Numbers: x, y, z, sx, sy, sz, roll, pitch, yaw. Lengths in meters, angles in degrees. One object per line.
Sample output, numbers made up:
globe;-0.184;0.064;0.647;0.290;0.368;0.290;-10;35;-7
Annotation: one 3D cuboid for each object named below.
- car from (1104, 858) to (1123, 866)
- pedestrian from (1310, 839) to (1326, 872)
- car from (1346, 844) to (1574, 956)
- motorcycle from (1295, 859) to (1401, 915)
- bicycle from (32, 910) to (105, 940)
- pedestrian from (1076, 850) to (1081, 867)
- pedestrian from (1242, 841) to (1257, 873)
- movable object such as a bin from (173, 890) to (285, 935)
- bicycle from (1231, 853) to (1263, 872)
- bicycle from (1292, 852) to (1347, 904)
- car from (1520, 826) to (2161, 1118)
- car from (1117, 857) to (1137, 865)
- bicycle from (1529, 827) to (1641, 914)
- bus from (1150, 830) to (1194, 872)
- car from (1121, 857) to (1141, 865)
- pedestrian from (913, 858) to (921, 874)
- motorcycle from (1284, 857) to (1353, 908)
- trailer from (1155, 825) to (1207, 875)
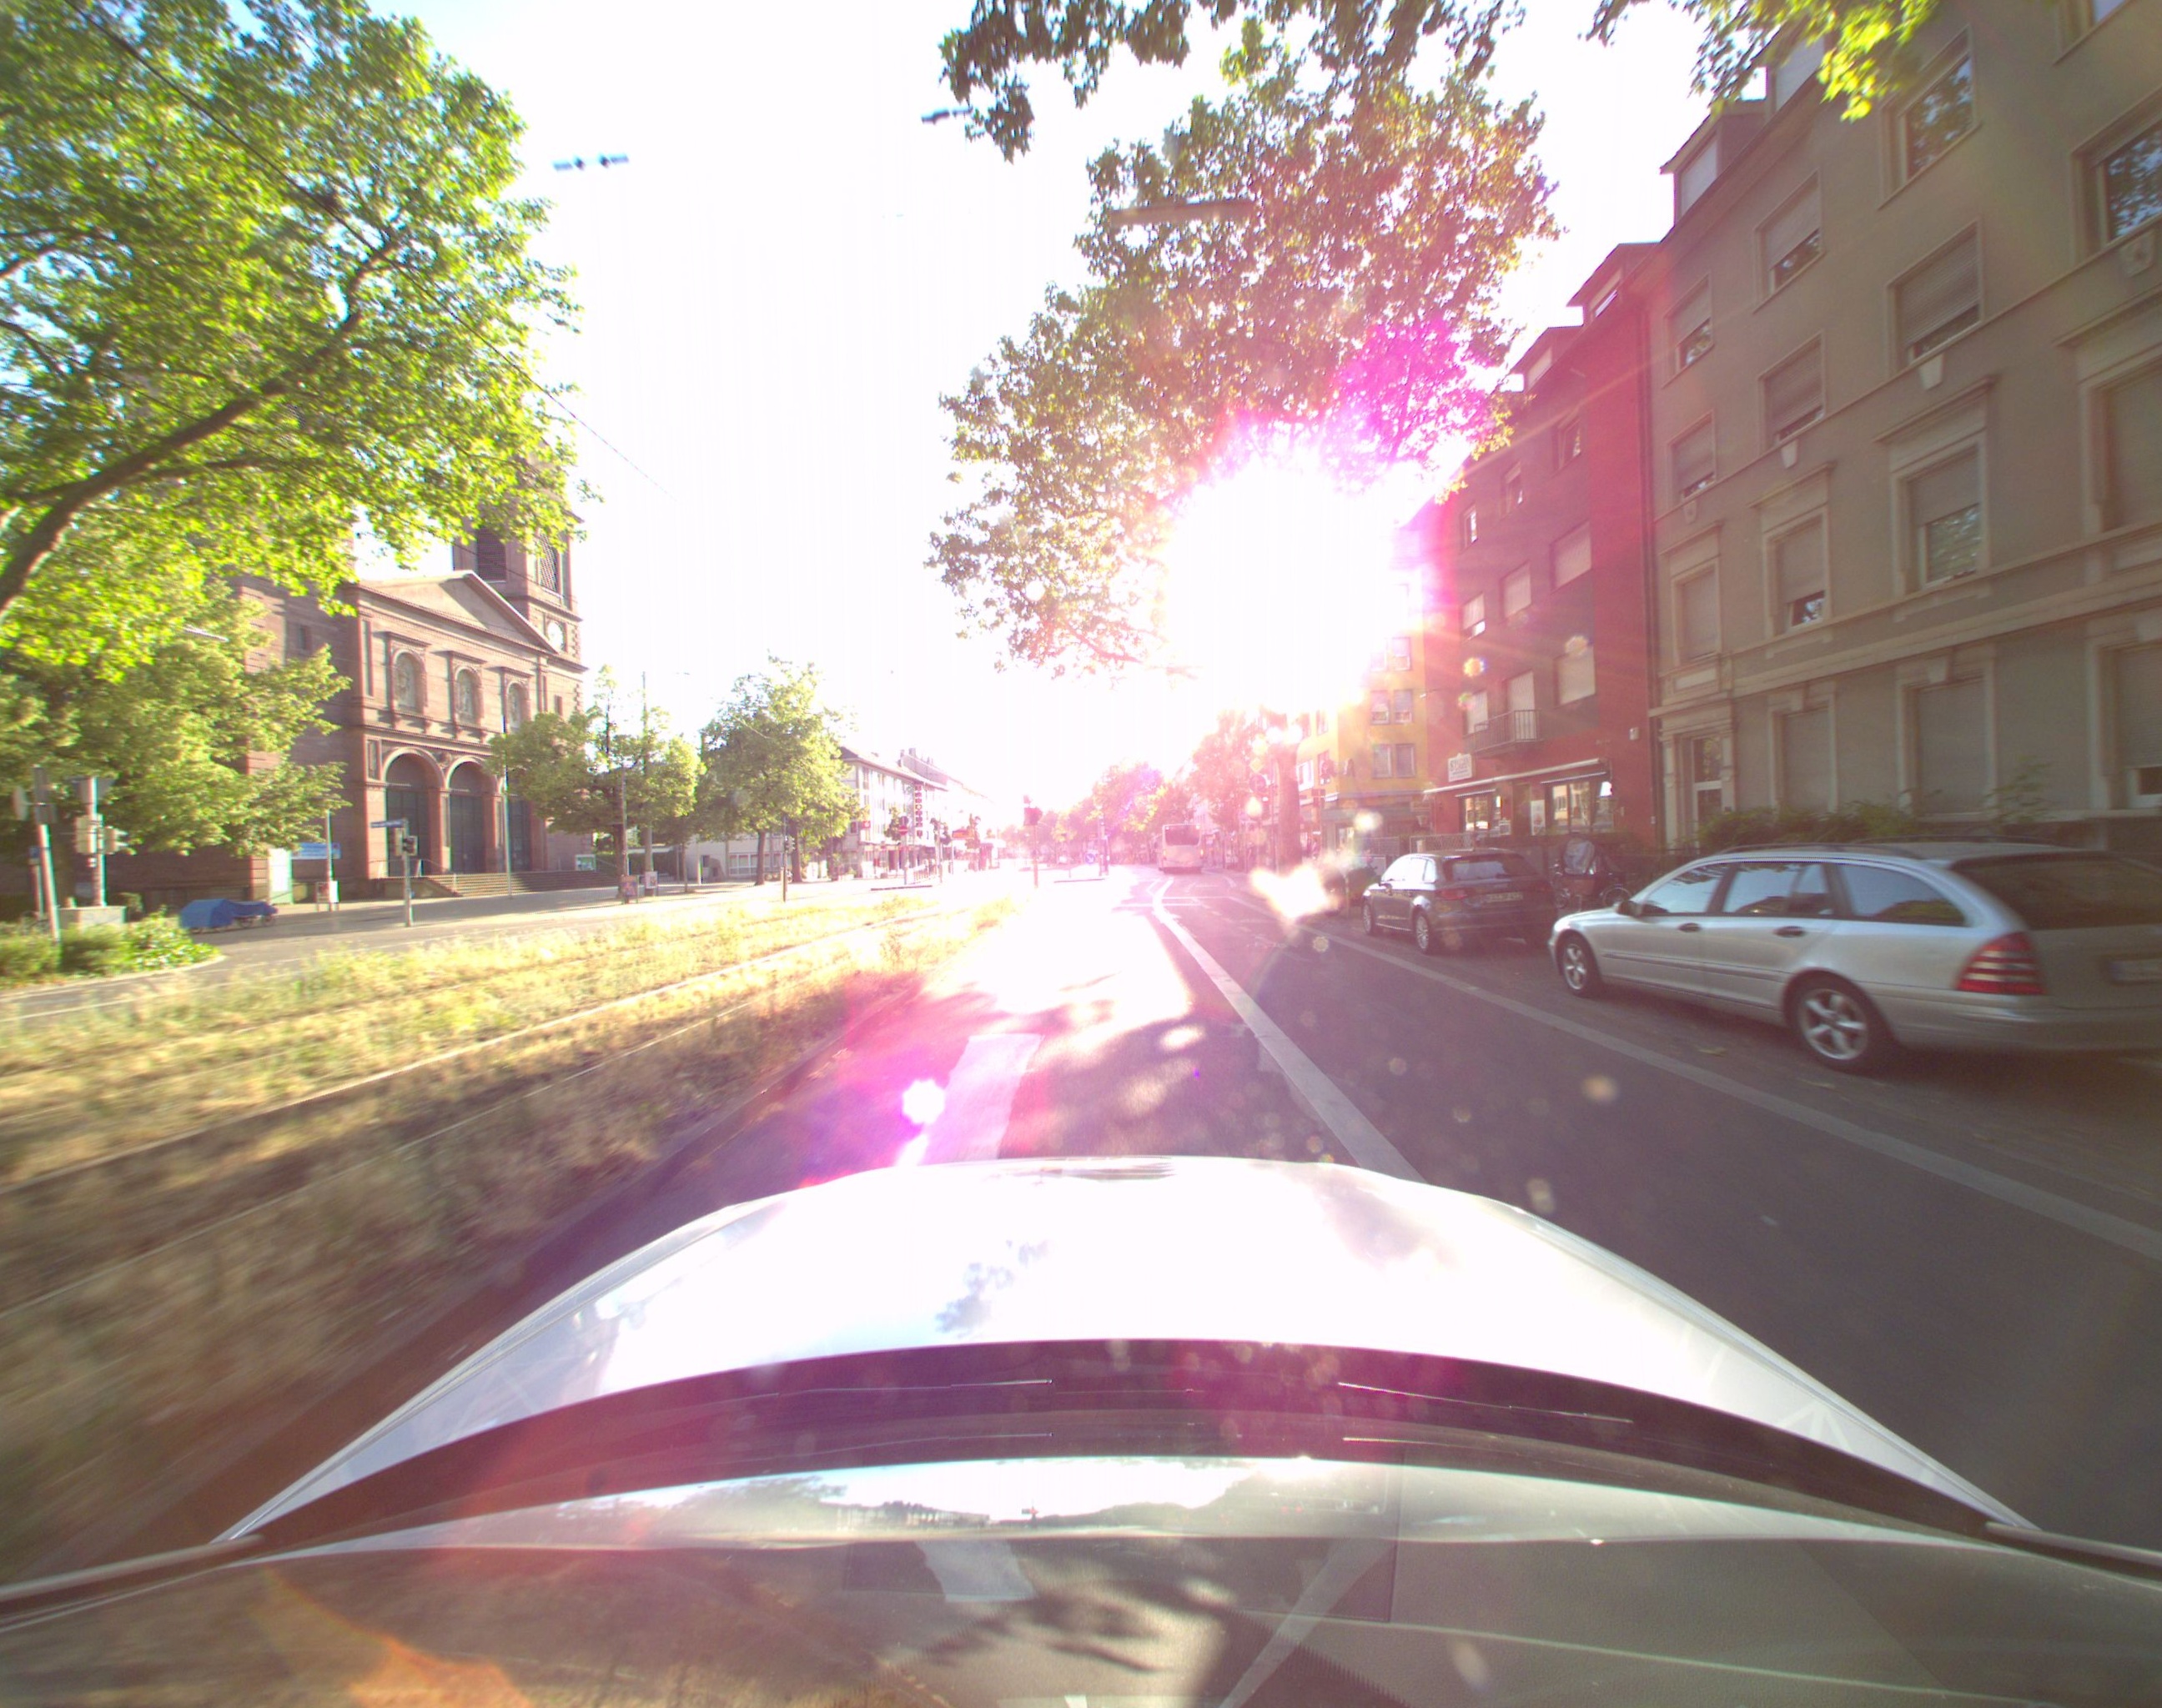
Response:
car;7.322;1.806;185.077;3.911;1.596;1.677;-2;0;-26
pedestrian;12.657;0.080;43.530;0.677;1.770;0.687;0;0;3
car;5.622;0.591;12.737;1.703;1.396;4.325;-2;0;3
motorcycle;5.930;0.709;18.078;2.213;1.063;0.762;-4;1;-20
bicycle;-34.171;2.386;27.511;0.464;0.893;1.540;0;0;6
pedestrian;-0.134;0.256;42.240;0.290;0.875;0.344;0;0;-1
pedestrian;9.513;0.179;45.981;0.677;1.770;0.687;-2;0;3
movable object such as a bin;-29.016;1.973;27.806;1.103;1.211;2.448;0;4;3
bicycle;10.054;0.512;49.446;1.766;1.021;0.694;-3;0;2
bicycle;6.348;0.605;21.624;0.687;1.203;1.859;0;4;41
car;5.567;0.587;6.466;1.668;1.451;4.570;-2;0;0
car;10.175;1.519;180.378;3.911;1.699;1.817;-2;0;-26
bicycle;8.889;0.275;14.499;0.604;1.426;2.398;0;0;3
bus;7.014;-0.209;63.802;2.801;3.101;9.100;0;0;3
car;10.959;1.559;176.984;3.911;1.699;1.817;-2;0;-26
pedestrian;-21.637;1.545;107.255;0.705;2.013;0.950;-3;1;4
motorcycle;5.923;0.688;20.257;2.009;1.152;0.594;-2;0;-40
trailer;6.597;-0.236;54.880;2.801;3.110;8.800;0;0;3
